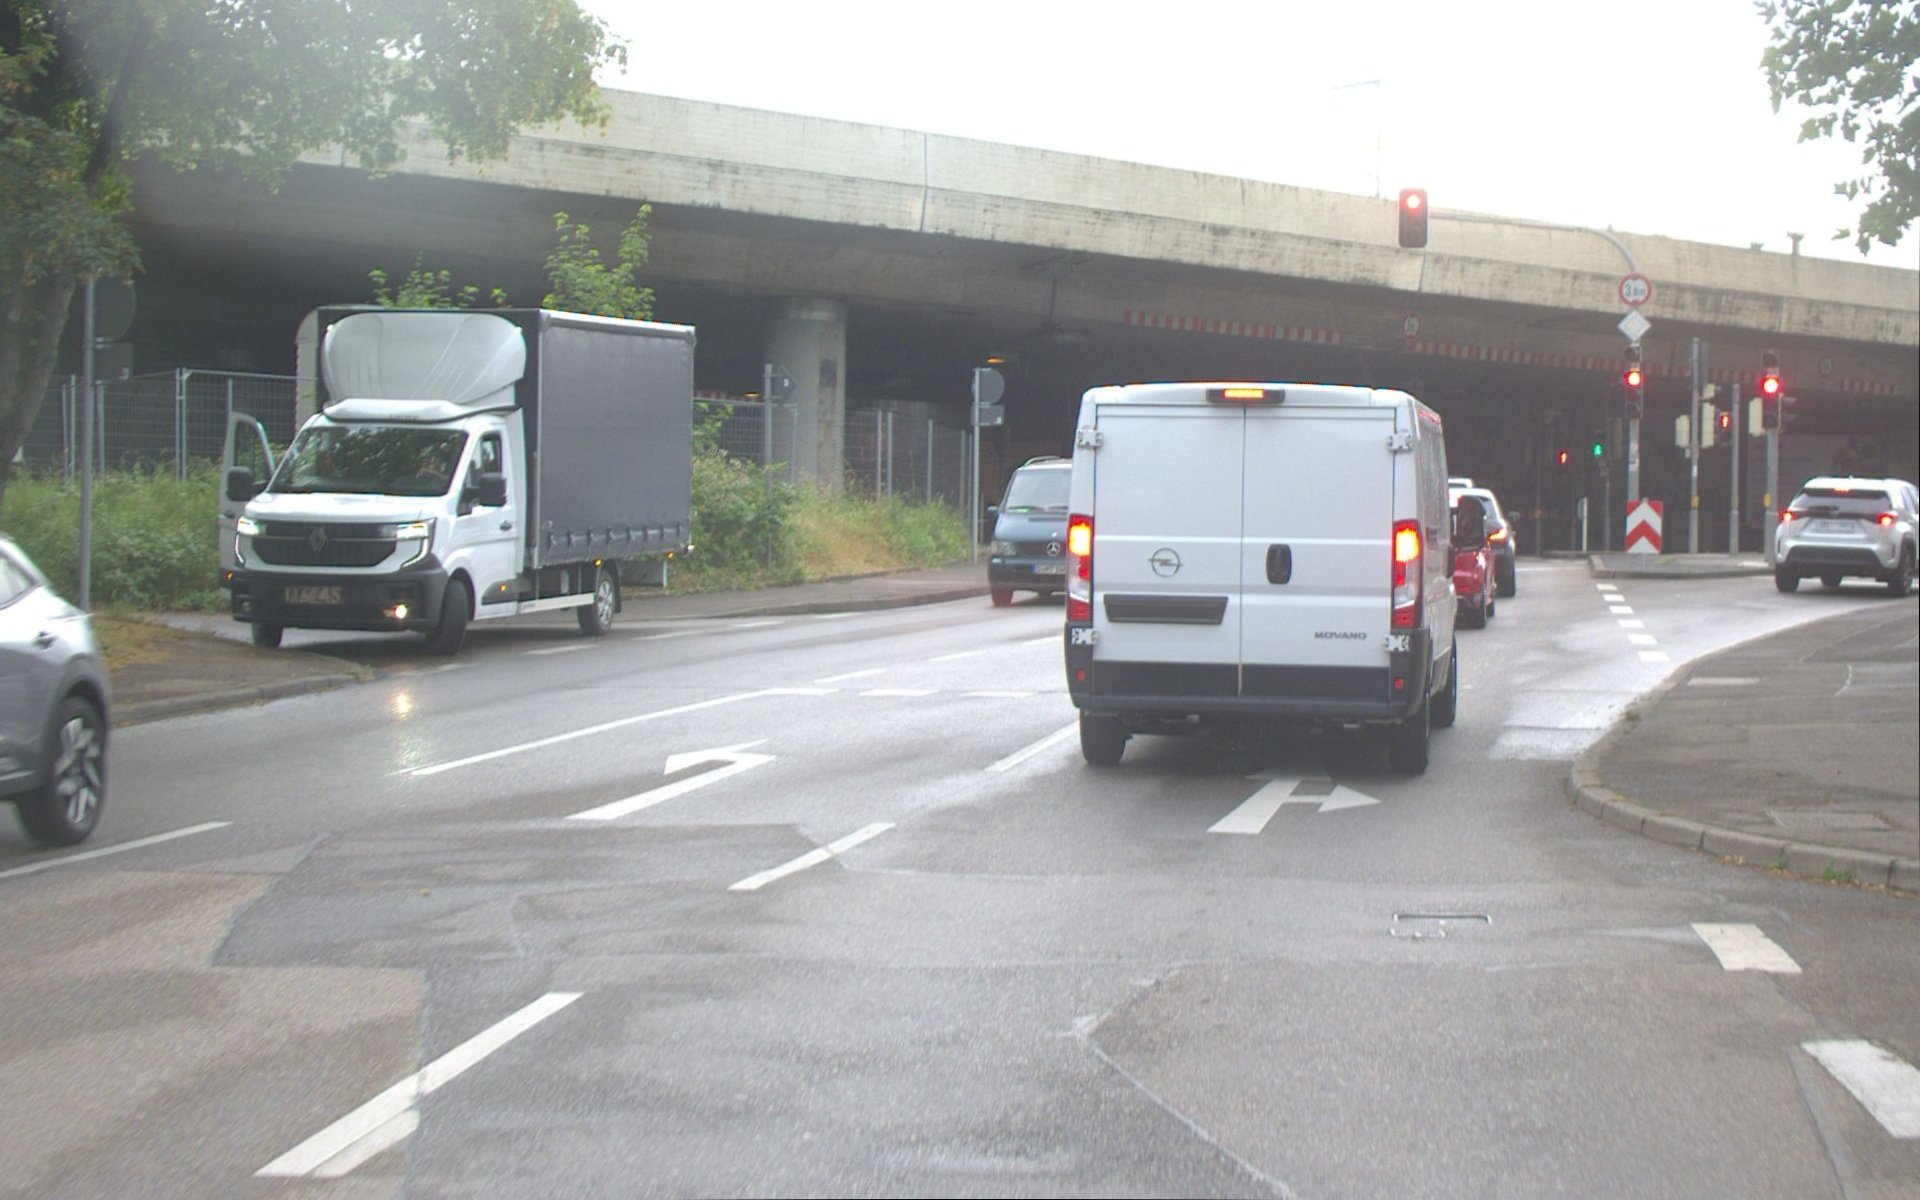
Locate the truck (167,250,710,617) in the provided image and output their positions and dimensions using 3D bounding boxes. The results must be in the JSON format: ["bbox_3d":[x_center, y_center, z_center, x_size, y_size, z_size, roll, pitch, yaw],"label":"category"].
[{"bbox_3d":[-4.937,-1.620,34.332,2.612,3.225,7.772,1,2,13],"label":"truck"}]

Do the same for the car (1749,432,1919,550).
[{"bbox_3d":[12.329,-1.483,47.137,1.996,1.544,3.994,2,2,27],"label":"car"}]

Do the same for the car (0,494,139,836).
[{"bbox_3d":[-5.104,0.295,14.488,1.895,1.456,3.999,0,2,7],"label":"car"}]

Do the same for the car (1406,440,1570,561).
[{"bbox_3d":[7.977,-1.486,51.674,1.995,1.723,3.997,1,2,15],"label":"car"}]

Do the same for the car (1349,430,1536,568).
[{"bbox_3d":[6.439,-1.333,45.545,1.995,1.723,3.998,1,2,14],"label":"car"}]

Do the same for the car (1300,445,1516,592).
[{"bbox_3d":[4.994,-0.910,37.917,1.995,1.508,3.998,1,2,13],"label":"car"}]

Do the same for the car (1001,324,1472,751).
[{"bbox_3d":[1.898,-0.477,21.647,2.306,2.335,5.280,1,3,12],"label":"car"}]

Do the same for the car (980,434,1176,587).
[{"bbox_3d":[1.629,-1.214,45.623,1.958,1.924,4.682,1,2,10],"label":"car"}]
